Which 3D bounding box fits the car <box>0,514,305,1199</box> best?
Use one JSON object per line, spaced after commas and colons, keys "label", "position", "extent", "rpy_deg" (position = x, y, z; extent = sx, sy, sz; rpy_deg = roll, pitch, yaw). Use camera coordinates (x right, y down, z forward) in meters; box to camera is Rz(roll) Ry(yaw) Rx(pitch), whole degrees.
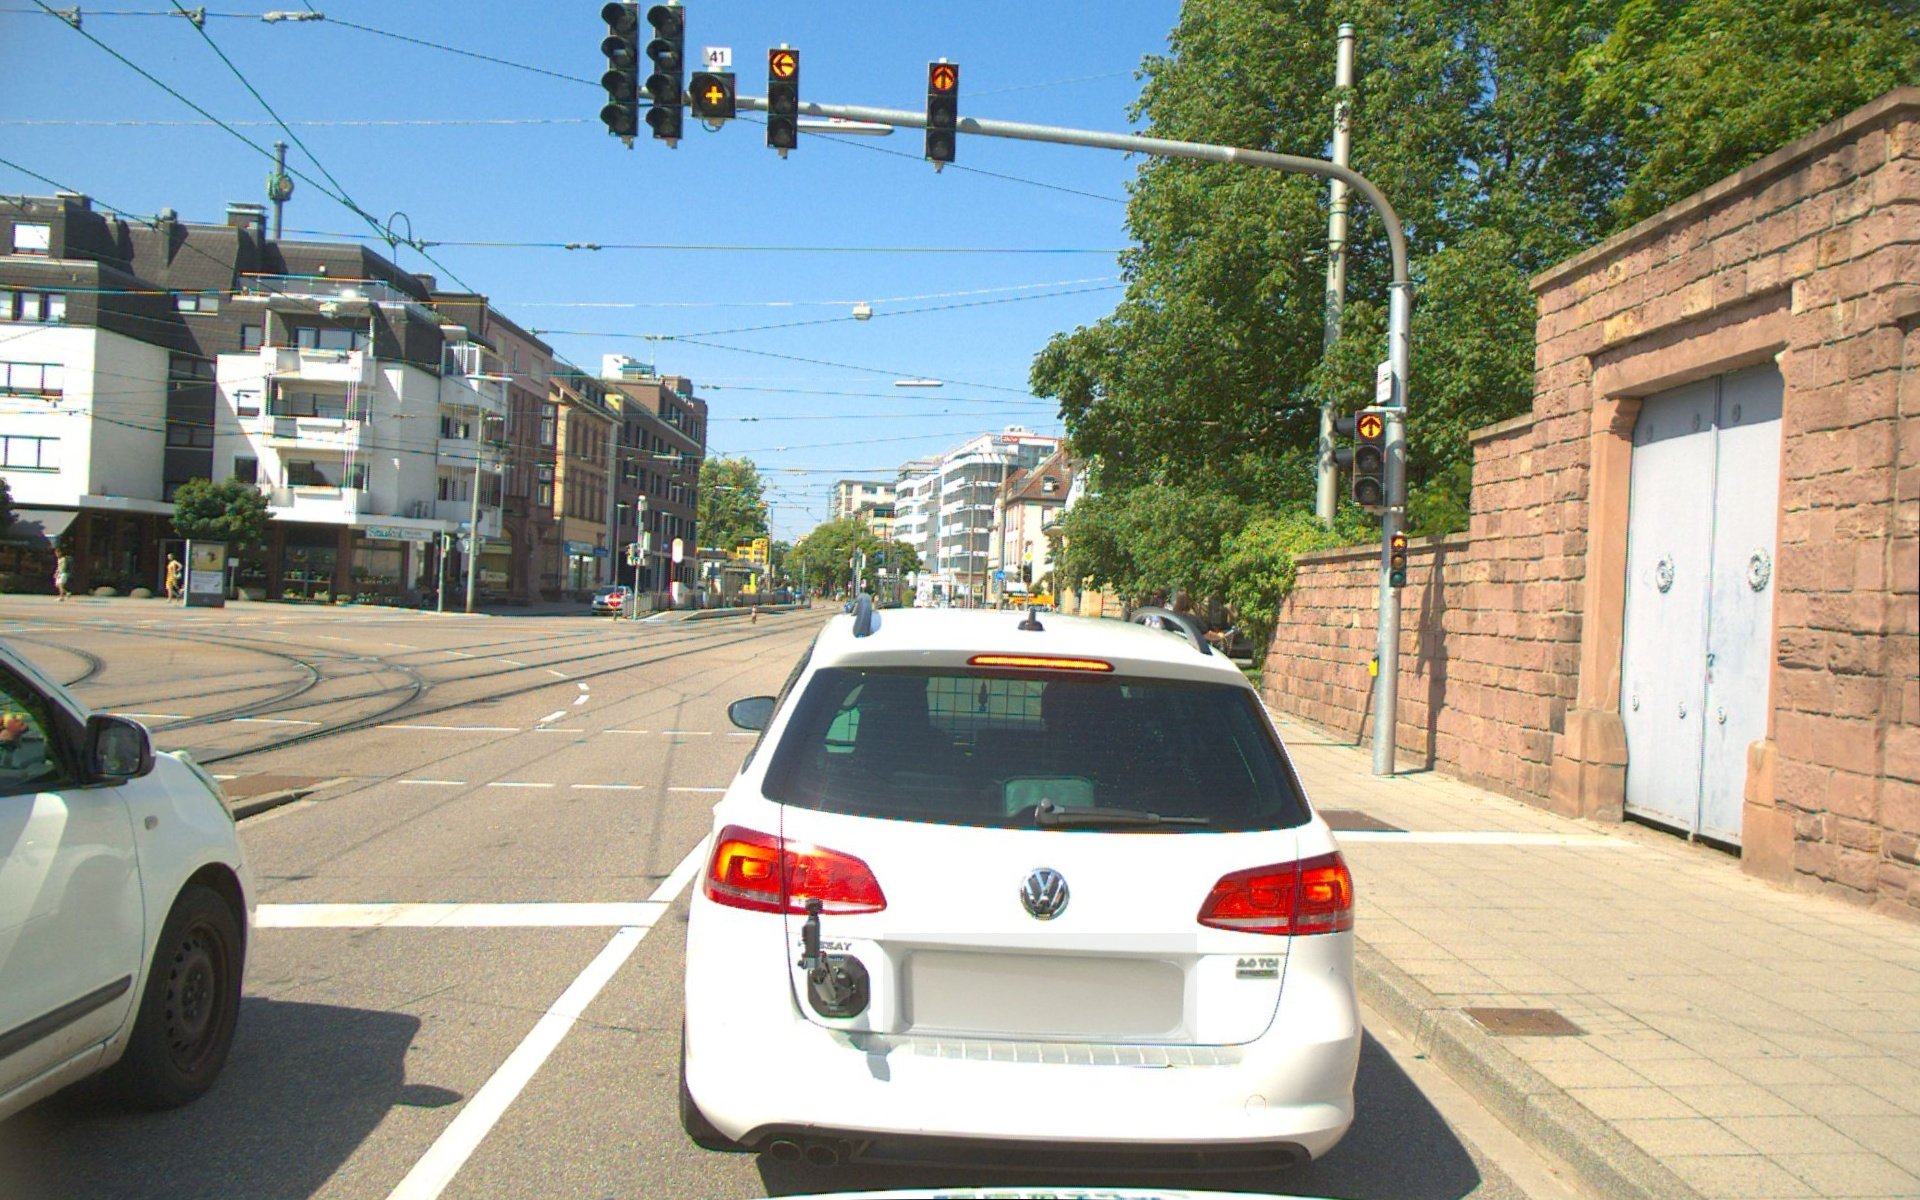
{"label": "car", "position": [-2.843, 0.608, 3.299], "extent": [1.608, 1.593, 3.803], "rpy_deg": [1, 1, -1]}

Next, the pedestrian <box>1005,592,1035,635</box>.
{"label": "pedestrian", "position": [2.491, 0.561, 69.050], "extent": [0.955, 1.773, 0.862], "rpy_deg": [0, -1, 34]}

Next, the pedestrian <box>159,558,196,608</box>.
{"label": "pedestrian", "position": [-28.619, -0.618, 60.493], "extent": [0.967, 1.773, 0.850], "rpy_deg": [1, -1, -44]}

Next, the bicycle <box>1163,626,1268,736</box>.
{"label": "bicycle", "position": [2.971, 0.895, 19.046], "extent": [0.694, 1.109, 2.025], "rpy_deg": [1, 1, 24]}

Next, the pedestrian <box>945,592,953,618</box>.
{"label": "pedestrian", "position": [-1.030, 0.483, 152.058], "extent": [0.675, 2.366, 1.232], "rpy_deg": [0, -1, 0]}

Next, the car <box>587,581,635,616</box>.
{"label": "car", "position": [-17.065, -0.052, 80.993], "extent": [1.706, 1.646, 3.996], "rpy_deg": [0, -1, -4]}

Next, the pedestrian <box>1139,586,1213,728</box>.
{"label": "pedestrian", "position": [2.507, 0.640, 19.175], "extent": [0.659, 1.599, 0.748], "rpy_deg": [1, 1, 23]}

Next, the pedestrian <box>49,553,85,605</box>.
{"label": "pedestrian", "position": [-30.968, -0.723, 57.367], "extent": [0.965, 1.773, 0.852], "rpy_deg": [1, -1, -38]}

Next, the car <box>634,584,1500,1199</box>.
{"label": "car", "position": [0.190, 0.718, 5.433], "extent": [1.771, 1.473, 3.999], "rpy_deg": [2, 0, -1]}

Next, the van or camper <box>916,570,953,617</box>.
{"label": "van or camper", "position": [-1.751, -0.394, 115.723], "extent": [2.514, 3.147, 5.702], "rpy_deg": [0, -1, 0]}

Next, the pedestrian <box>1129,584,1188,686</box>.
{"label": "pedestrian", "position": [3.338, 0.585, 27.841], "extent": [0.933, 1.680, 0.975], "rpy_deg": [0, -1, 4]}

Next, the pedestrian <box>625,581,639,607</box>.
{"label": "pedestrian", "position": [-22.534, -0.432, 113.752], "extent": [0.845, 1.773, 0.973], "rpy_deg": [1, -1, -6]}
